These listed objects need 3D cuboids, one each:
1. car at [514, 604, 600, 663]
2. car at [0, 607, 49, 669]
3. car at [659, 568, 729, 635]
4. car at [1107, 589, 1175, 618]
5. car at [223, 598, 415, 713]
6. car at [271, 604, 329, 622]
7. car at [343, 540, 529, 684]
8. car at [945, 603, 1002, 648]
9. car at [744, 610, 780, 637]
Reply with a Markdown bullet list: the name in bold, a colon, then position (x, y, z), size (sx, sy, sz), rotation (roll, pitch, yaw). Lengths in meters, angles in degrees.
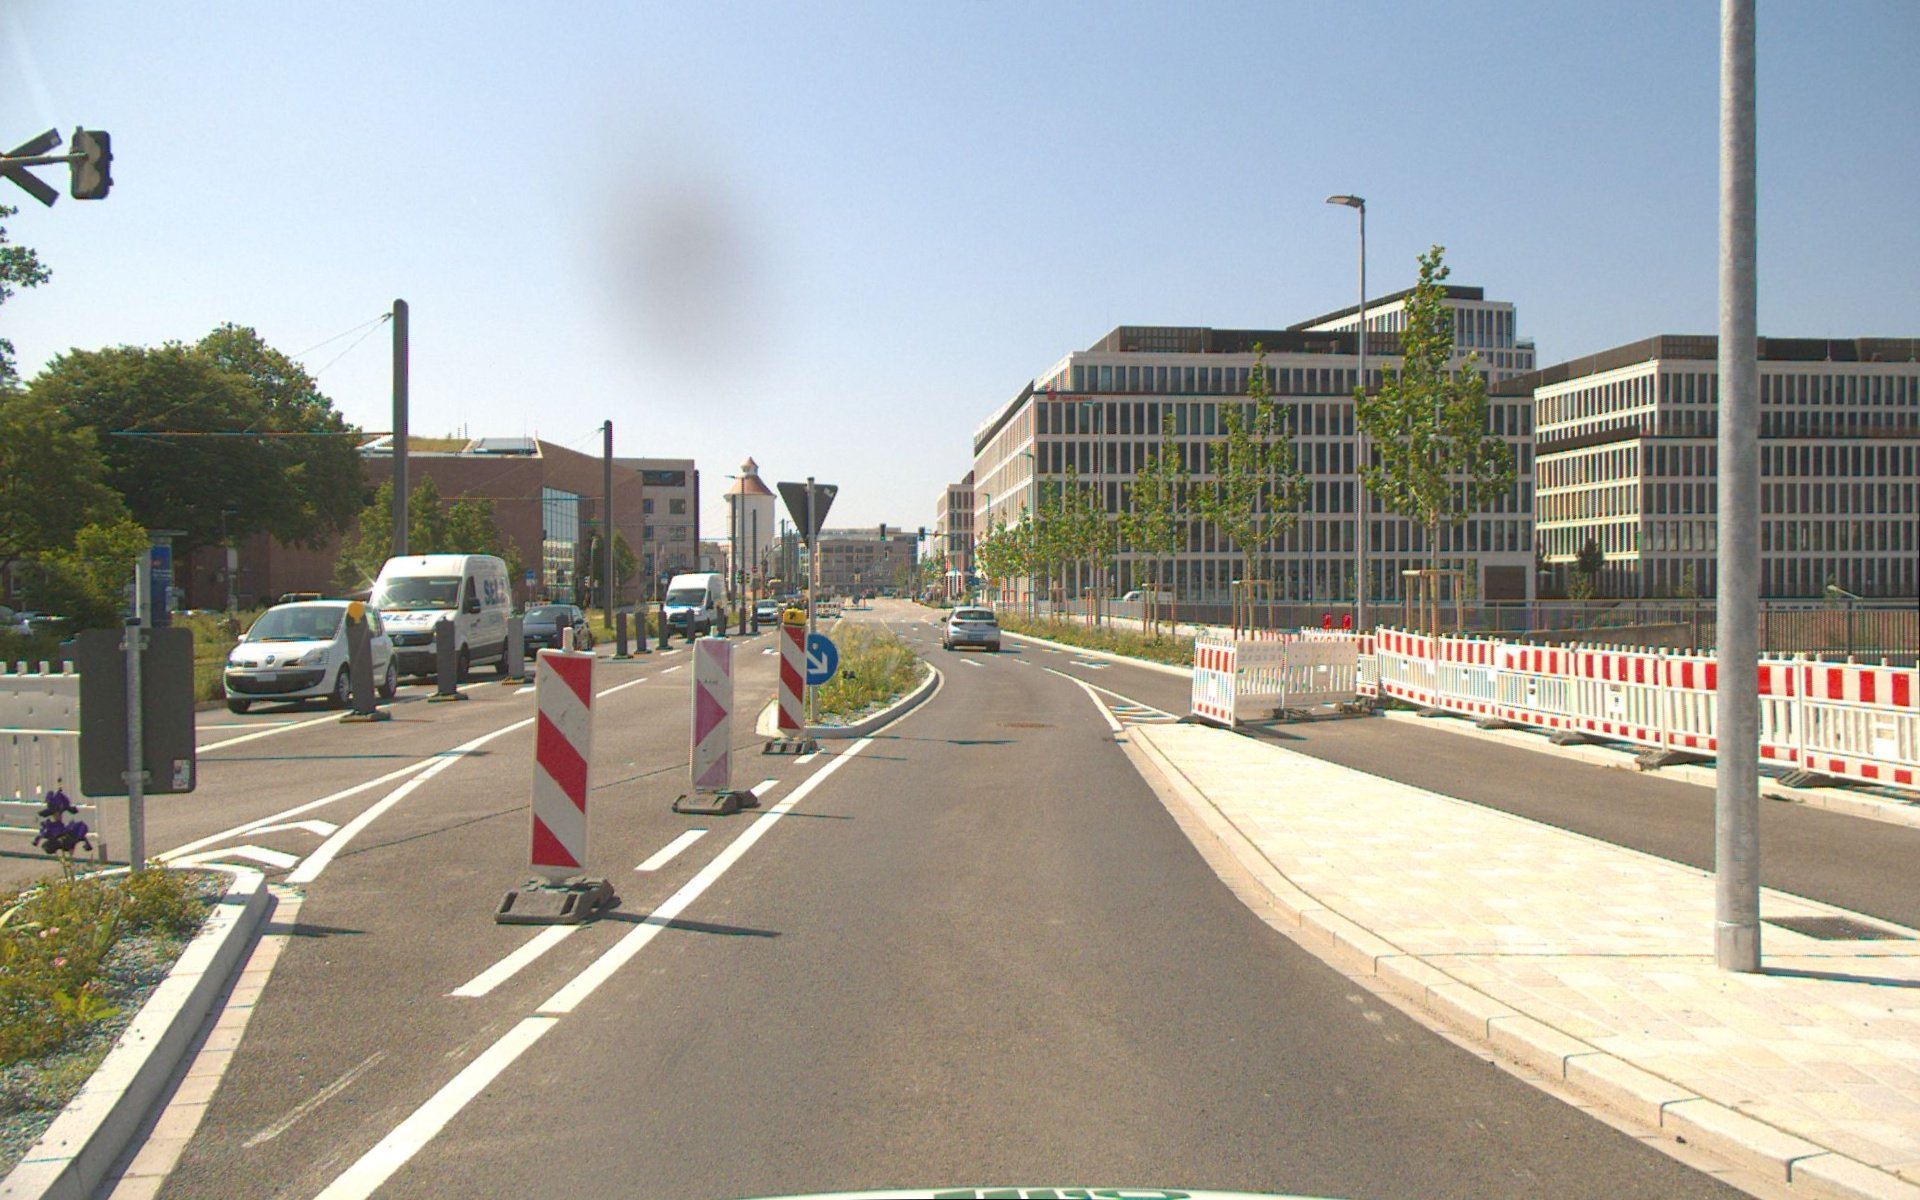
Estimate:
- **car**: position (-11.079, 0.889, 45.685), size (1.515, 1.482, 4.190), rotation (-2, 0, -3)
- **car**: position (-36.460, 1.369, 61.293), size (4.957, 2.218, 2.113), rotation (0, 0, 23)
- **car**: position (-11.710, 0.072, 73.255), size (2.034, 2.788, 5.986), rotation (-2, 0, 0)
- **car**: position (16.294, 0.320, 148.798), size (5.721, 2.310, 2.145), rotation (2, 0, -4)
- **car**: position (-9.821, 0.795, 25.634), size (1.549, 1.568, 3.975), rotation (-3, 0, -3)
- **car**: position (-54.108, 1.095, 135.669), size (3.905, 1.427, 2.000), rotation (1, -1, 1)
- **car**: position (-10.682, 0.242, 34.273), size (1.990, 2.623, 6.191), rotation (-3, 0, -2)
- **car**: position (0.424, 0.856, 55.788), size (1.736, 1.419, 3.530), rotation (1, -1, -2)
- **car**: position (-11.753, 1.371, 98.499), size (1.639, 1.468, 4.467), rotation (-2, 0, -1)
